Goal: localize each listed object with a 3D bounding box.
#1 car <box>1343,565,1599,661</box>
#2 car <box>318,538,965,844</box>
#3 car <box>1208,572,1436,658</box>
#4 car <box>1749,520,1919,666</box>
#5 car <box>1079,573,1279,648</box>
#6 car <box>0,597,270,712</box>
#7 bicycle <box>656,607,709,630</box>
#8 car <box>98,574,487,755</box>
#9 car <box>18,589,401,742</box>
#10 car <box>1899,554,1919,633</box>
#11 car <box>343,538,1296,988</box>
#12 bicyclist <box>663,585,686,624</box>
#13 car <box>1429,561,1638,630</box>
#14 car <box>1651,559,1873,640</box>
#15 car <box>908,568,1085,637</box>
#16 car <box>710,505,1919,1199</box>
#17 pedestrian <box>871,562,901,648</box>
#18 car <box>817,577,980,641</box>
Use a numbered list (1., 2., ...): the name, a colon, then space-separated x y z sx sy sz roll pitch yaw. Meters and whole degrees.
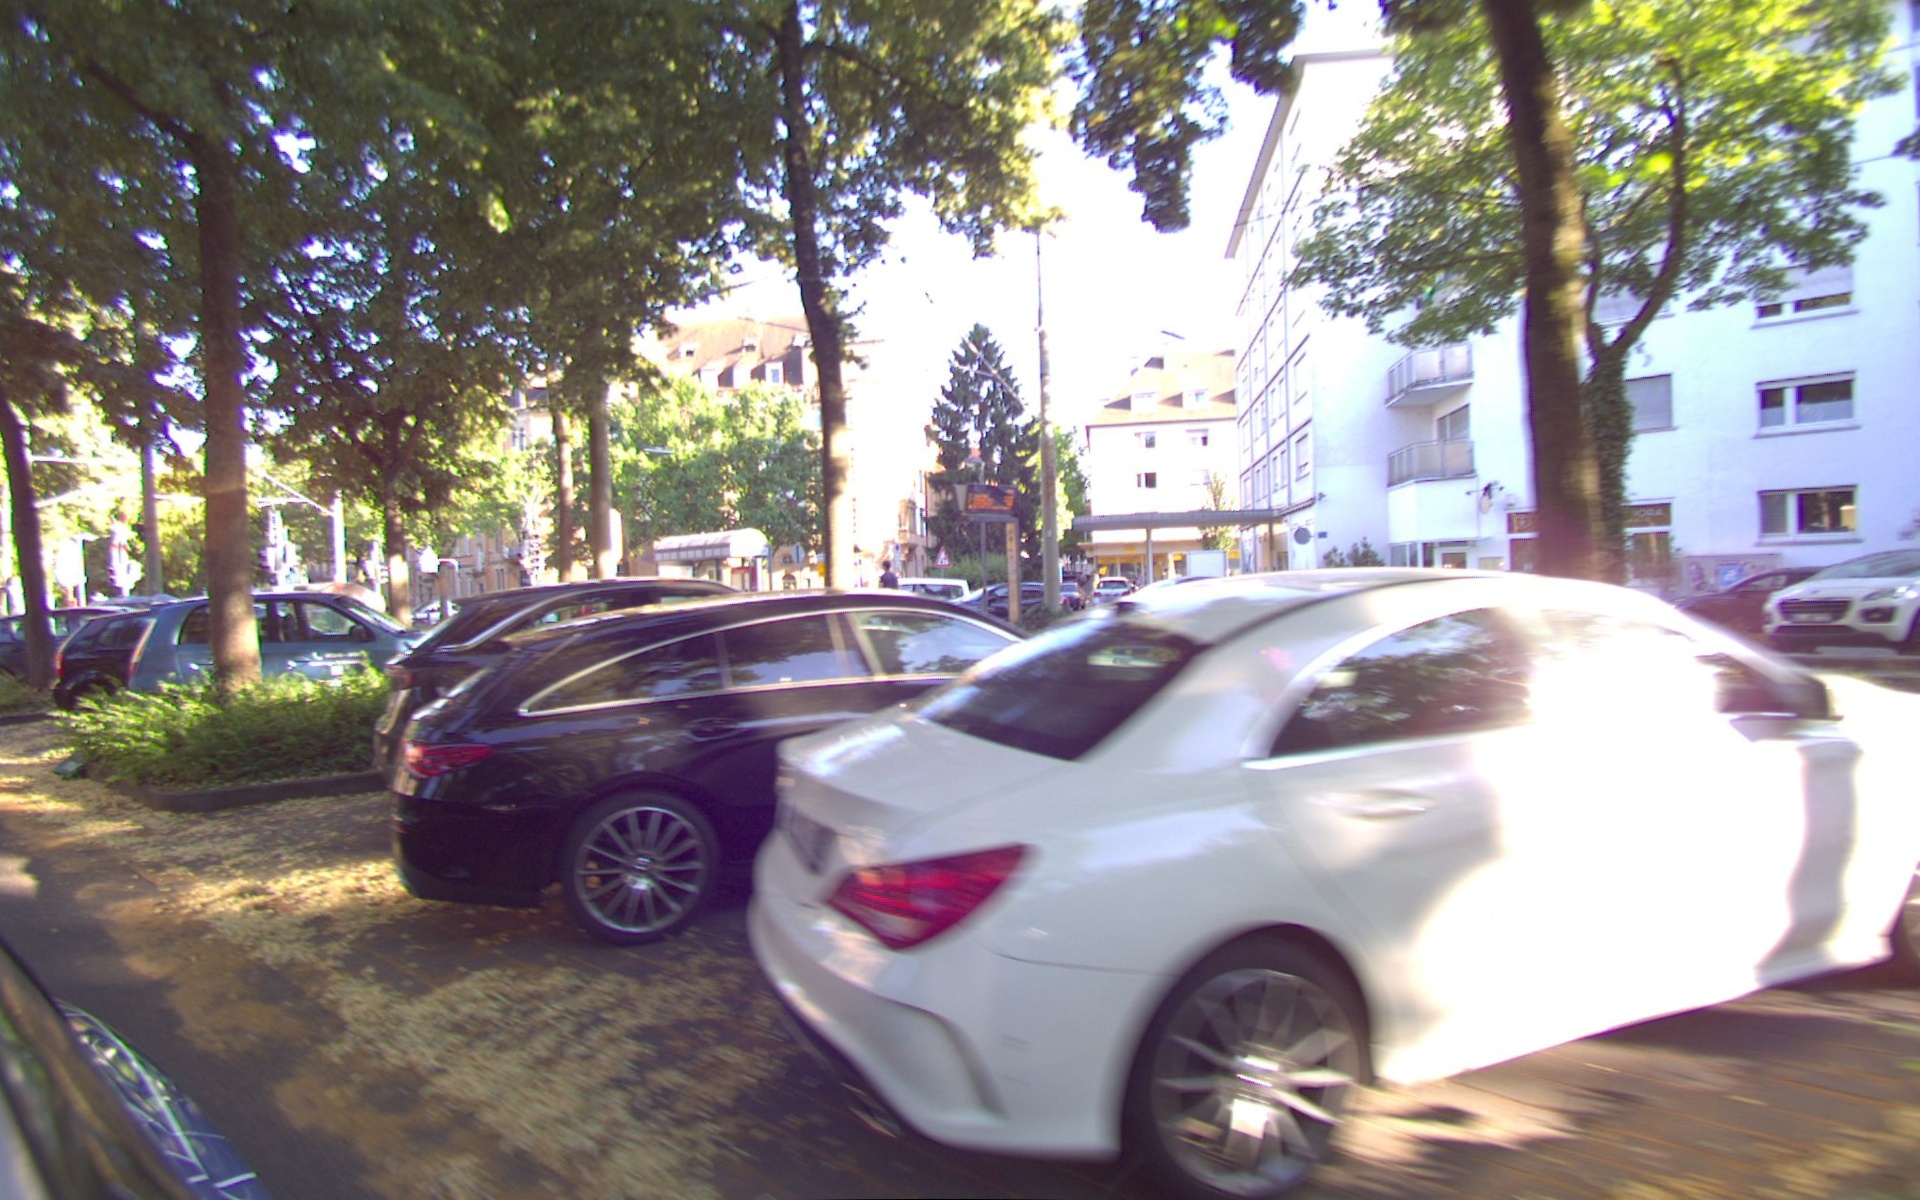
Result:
1. car: 9.047 0.188 18.002 3.816 1.455 1.860 -2 1 -18
2. car: -2.204 0.473 7.449 3.932 1.523 1.966 -5 2 -25
3. car: 7.055 0.250 19.805 3.816 1.455 1.860 -2 1 -18
4. car: 13.595 -0.118 14.266 4.246 1.832 1.819 -1 0 -19
5. car: 4.720 0.216 21.896 3.932 1.530 1.592 0 0 -17
6. car: -13.950 0.858 16.740 3.831 1.458 1.640 -5 4 -23
7. bicycle: -11.512 0.750 42.088 0.640 0.864 2.241 -2 1 34
8. car: -7.282 0.625 11.422 3.296 1.579 1.577 -5 2 -21
9. car: -9.510 0.749 13.210 3.632 1.458 1.640 -5 4 -23
10. car: 19.932 -0.200 18.852 3.509 1.414 1.831 -2 2 44
11. car: -0.571 0.552 5.314 4.240 1.414 1.750 -5 2 -22
12. bicyclist: -11.780 0.187 41.777 0.551 1.602 0.672 -1 1 35
13. car: 13.784 -0.086 24.459 4.030 1.414 1.831 -2 2 44
14. car: 17.034 0.014 21.576 3.509 1.502 1.831 -2 2 44
15. car: 0.905 0.067 25.640 4.080 1.634 1.893 0 0 -16
16. car: 1.556 0.521 3.368 4.390 1.414 1.863 -5 2 -19
17. pedestrian: -1.787 0.120 24.519 0.528 2.029 0.645 -2 1 -17
18. car: -1.699 0.234 27.601 4.079 1.634 1.894 0 0 -18
